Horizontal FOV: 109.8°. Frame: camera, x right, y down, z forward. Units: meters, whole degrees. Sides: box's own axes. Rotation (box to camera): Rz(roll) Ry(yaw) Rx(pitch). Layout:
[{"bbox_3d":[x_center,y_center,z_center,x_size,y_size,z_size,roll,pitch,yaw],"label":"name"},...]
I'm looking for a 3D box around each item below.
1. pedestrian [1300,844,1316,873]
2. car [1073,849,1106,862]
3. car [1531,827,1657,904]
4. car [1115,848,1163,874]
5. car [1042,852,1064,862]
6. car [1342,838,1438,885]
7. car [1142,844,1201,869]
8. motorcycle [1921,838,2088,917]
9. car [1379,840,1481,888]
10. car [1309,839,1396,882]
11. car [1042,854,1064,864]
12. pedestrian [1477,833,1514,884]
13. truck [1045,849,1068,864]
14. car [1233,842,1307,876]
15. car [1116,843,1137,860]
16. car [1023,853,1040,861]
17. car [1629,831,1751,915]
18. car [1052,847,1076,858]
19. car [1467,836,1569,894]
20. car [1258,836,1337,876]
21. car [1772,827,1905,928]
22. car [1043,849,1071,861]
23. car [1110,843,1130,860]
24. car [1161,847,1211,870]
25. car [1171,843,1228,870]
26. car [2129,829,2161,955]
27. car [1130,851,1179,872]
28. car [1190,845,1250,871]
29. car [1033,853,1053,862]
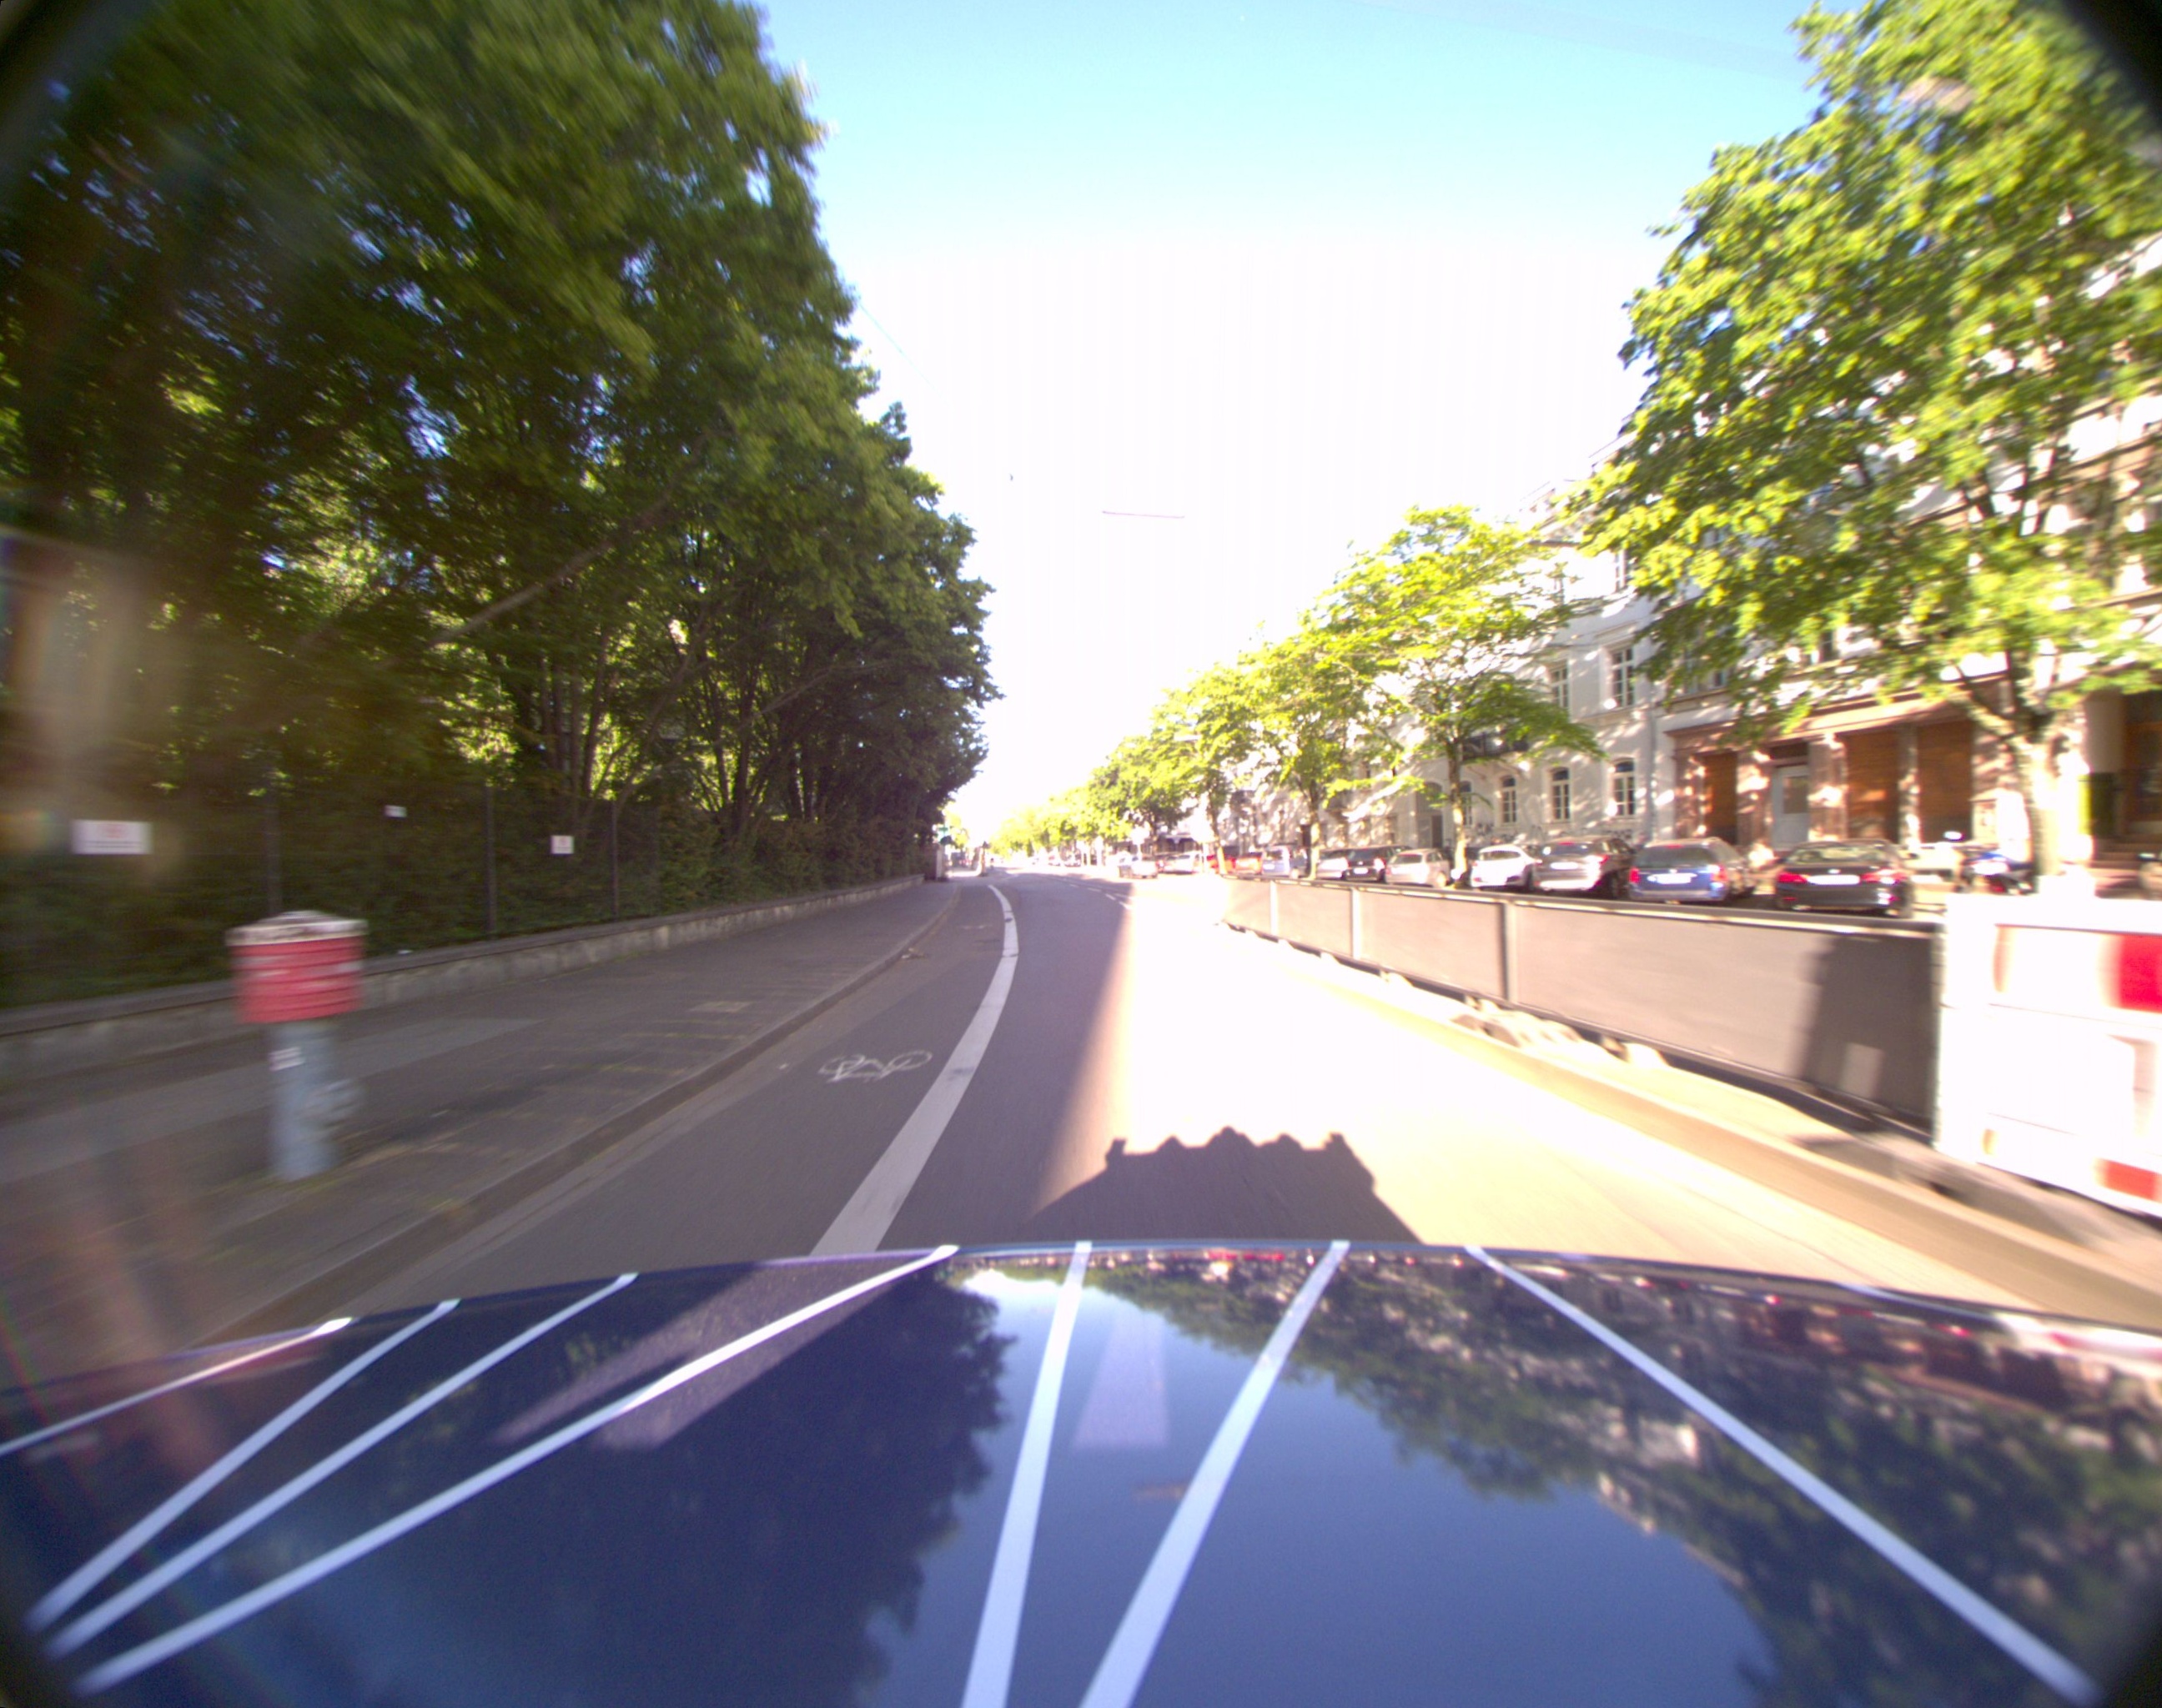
[{"bbox_3d":[13.354,0.256,44.736,0.643,1.686,0.870,-1,1,-4],"label":"pedestrian"},{"bbox_3d":[1.107,0.199,102.729,4.103,1.561,1.670,-4,1,-14],"label":"car"},{"bbox_3d":[14.174,0.243,20.891,4.293,1.713,1.703,-5,3,-40],"label":"car"},{"bbox_3d":[3.673,0.426,48.894,1.877,1.591,4.422,-1,0,-12],"label":"car"},{"bbox_3d":[-5.173,0.574,139.854,3.774,1.584,1.670,-4,1,-14],"label":"car"},{"bbox_3d":[12.377,0.274,30.386,3.877,1.645,1.768,-3,2,-37],"label":"car"},{"bbox_3d":[7.315,0.210,61.218,4.365,1.704,1.944,-4,2,-32],"label":"car"},{"bbox_3d":[16.475,0.367,13.646,0.680,1.272,1.927,-2,2,3],"label":"motorcycle"},{"bbox_3d":[12.830,0.334,27.870,3.828,1.477,1.766,-4,2,-37],"label":"car"},{"bbox_3d":[11.998,0.265,33.529,3.877,1.645,1.768,-3,2,-37],"label":"car"},{"bbox_3d":[-5.291,0.882,142.384,3.774,1.584,1.670,-4,1,-14],"label":"car"},{"bbox_3d":[14.509,0.153,26.598,0.766,1.745,0.807,-1,1,-19],"label":"pedestrian"},{"bbox_3d":[-4.387,0.416,135.576,3.773,2.409,1.671,-4,1,-9],"label":"truck"},{"bbox_3d":[10.768,0.256,43.201,4.207,1.627,1.739,-4,0,-37],"label":"car"},{"bbox_3d":[5.153,-0.247,86.164,1.673,1.886,3.212,-1,0,-9],"label":"car"},{"bbox_3d":[-11.215,0.677,172.979,3.623,1.492,1.502,-4,1,-14],"label":"car"},{"bbox_3d":[14.173,0.372,17.602,3.993,1.607,1.630,-4,1,-43],"label":"car"},{"bbox_3d":[-2.891,-0.210,128.113,3.774,1.584,1.670,-4,1,-14],"label":"car"},{"bbox_3d":[13.905,0.327,24.129,3.286,1.524,1.703,-5,2,-40],"label":"car"},{"bbox_3d":[11.500,0.084,40.289,4.207,1.788,1.781,-4,2,-37],"label":"car"},{"bbox_3d":[14.747,0.375,14.767,3.993,1.607,1.630,-4,1,-43],"label":"car"},{"bbox_3d":[-3.799,0.153,121.595,4.103,1.767,1.670,-4,1,-14],"label":"car"},{"bbox_3d":[4.607,-0.275,90.203,1.673,1.886,3.212,-1,0,-9],"label":"car"},{"bbox_3d":[8.116,0.316,58.597,3.772,1.511,1.744,-5,2,-42],"label":"car"},{"bbox_3d":[8.748,0.167,55.794,4.208,1.714,1.780,-5,2,-41],"label":"car"},{"bbox_3d":[15.688,0.454,10.161,3.928,1.499,1.685,-4,1,-40],"label":"car"},{"bbox_3d":[6.272,0.623,64.255,4.007,1.478,1.777,-4,2,-40],"label":"car"},{"bbox_3d":[9.681,0.283,52.954,4.208,1.549,1.636,-4,1,-37],"label":"car"},{"bbox_3d":[-7.907,0.791,159.012,3.774,1.584,1.670,-4,1,-14],"label":"car"}]
